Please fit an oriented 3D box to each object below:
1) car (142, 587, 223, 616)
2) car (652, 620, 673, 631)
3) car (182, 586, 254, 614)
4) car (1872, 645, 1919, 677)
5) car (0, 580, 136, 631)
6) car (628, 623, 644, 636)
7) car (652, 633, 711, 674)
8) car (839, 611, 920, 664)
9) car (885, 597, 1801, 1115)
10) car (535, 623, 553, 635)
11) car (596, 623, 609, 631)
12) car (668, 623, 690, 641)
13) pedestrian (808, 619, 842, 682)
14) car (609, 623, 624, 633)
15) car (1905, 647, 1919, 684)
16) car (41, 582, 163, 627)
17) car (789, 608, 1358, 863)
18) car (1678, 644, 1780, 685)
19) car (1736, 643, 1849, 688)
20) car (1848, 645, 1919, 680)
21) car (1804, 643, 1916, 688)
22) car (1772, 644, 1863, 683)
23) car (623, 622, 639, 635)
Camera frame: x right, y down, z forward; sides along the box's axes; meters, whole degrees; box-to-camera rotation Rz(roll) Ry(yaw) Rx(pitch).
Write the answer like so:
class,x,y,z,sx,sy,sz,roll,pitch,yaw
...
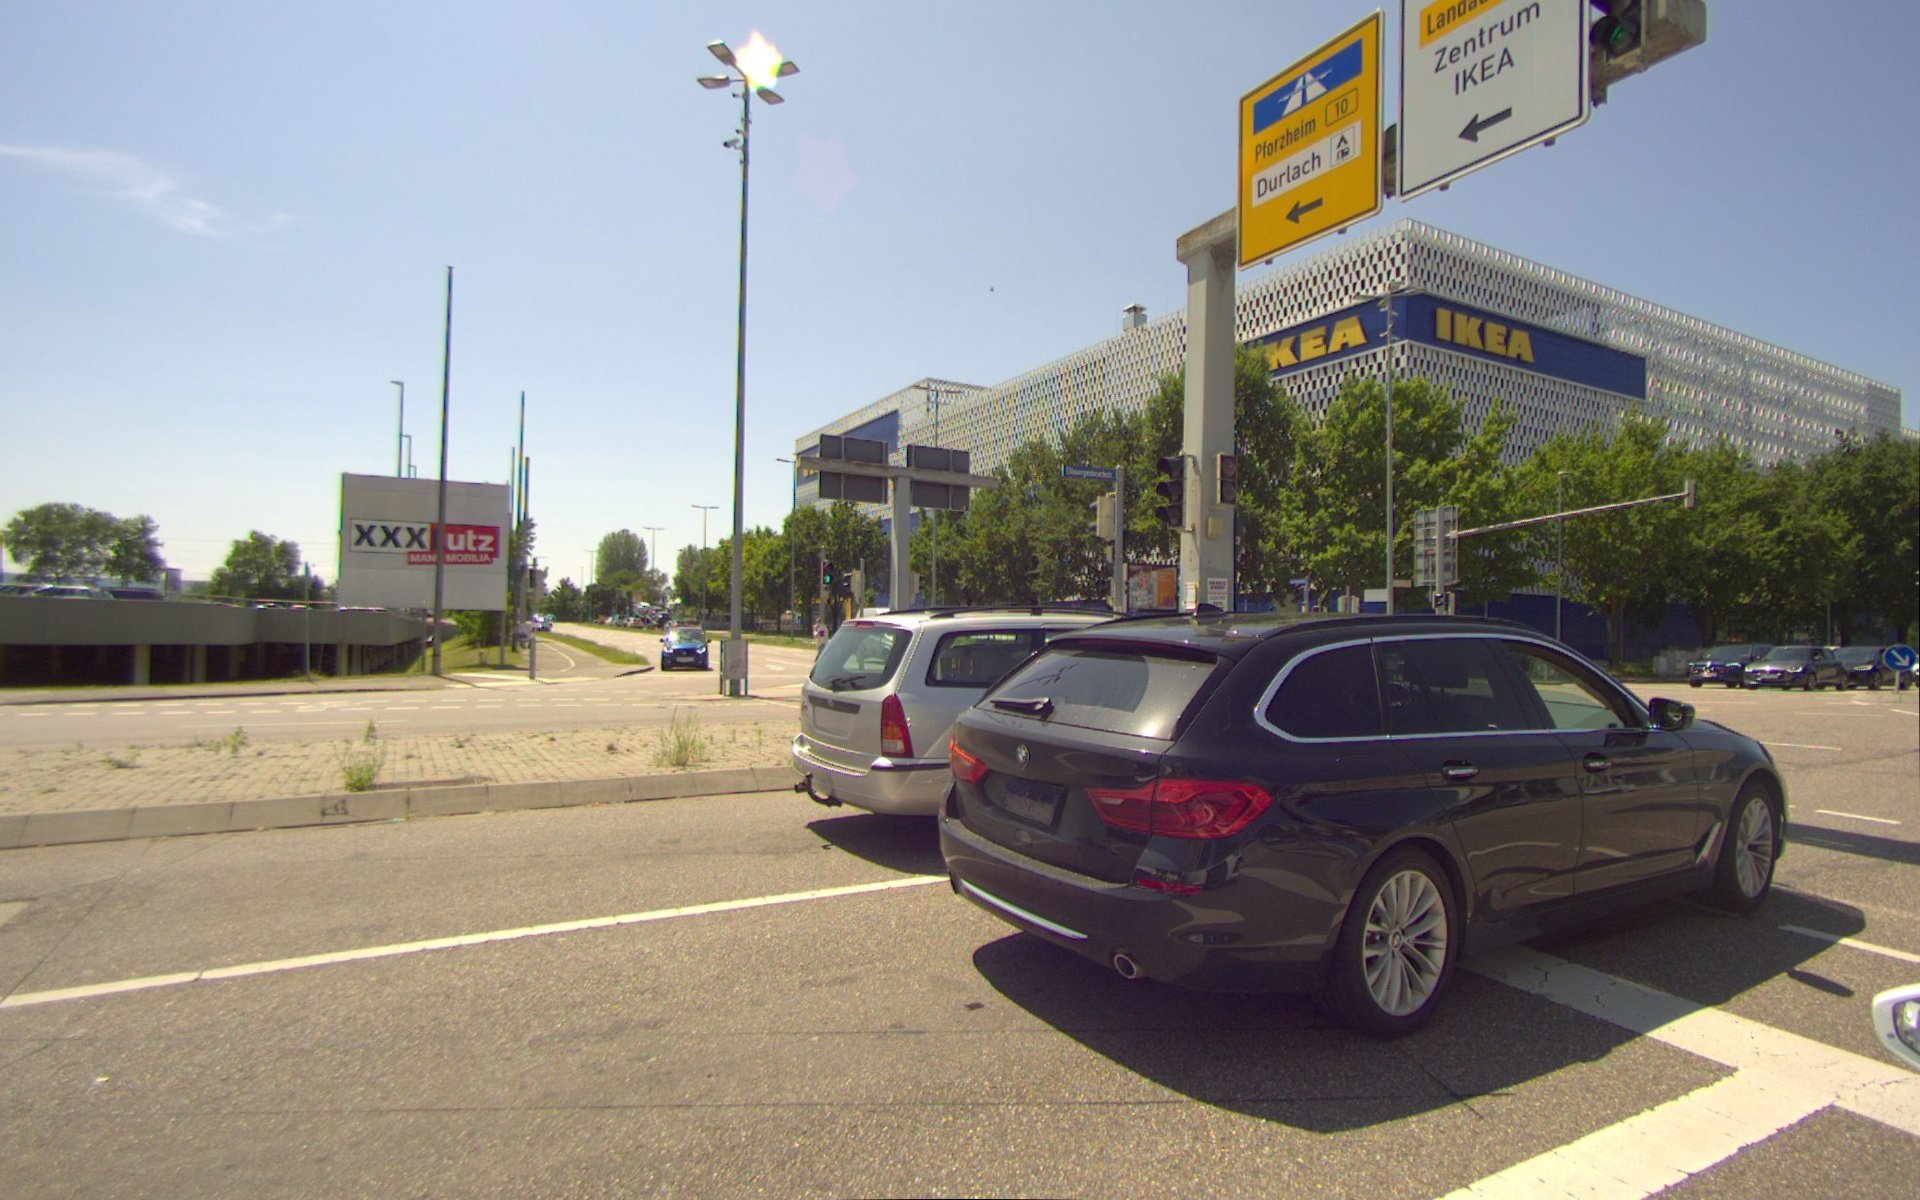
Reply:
class,x,y,z,sx,sy,sz,roll,pitch,yaw
car,-52.819,0.125,68.323,4.086,1.764,1.770,2,-2,-30
car,-42.792,3.626,144.460,1.976,1.572,3.970,2,-2,-29
car,-58.499,0.053,79.307,4.278,2.040,1.985,2,-2,-30
car,46.213,2.979,48.795,3.954,1.505,1.735,3,-3,-31
car,-39.317,0.289,44.350,4.284,2.040,1.982,2,-2,-34
car,-46.298,4.275,143.574,1.607,1.835,3.474,1,-2,-27
car,-10.327,1.946,37.096,1.599,1.382,3.417,1,-2,-24
car,-3.660,1.627,44.680,1.973,2.212,5.019,1,-2,-25
car,2.051,0.789,4.817,4.507,1.459,1.787,2,-1,-33
car,-55.203,3.874,133.154,1.836,1.528,3.971,2,-2,-28
car,-60.613,4.572,170.369,1.608,1.368,3.472,2,-2,-29
car,-33.070,3.782,118.151,1.750,2.040,3.813,1,-2,-26
pedestrian,-3.914,1.460,29.101,0.816,1.807,0.601,2,-2,-27
car,-55.251,4.525,161.590,1.608,1.629,3.471,2,-2,-29
car,40.736,2.693,40.972,4.660,1.464,1.720,2,-4,-28
car,-42.015,0.263,49.345,4.285,2.040,1.981,2,-2,-34
car,0.900,0.815,7.451,3.959,1.441,1.685,1,0,-29
car,28.698,2.415,37.480,3.992,1.442,1.653,3,-3,-31
car,27.176,2.154,32.773,3.671,1.407,1.637,3,-4,-30
car,42.297,2.862,45.767,3.870,1.505,1.642,3,-3,-31
car,32.394,2.364,36.138,4.193,1.524,1.719,3,-4,-30
car,35.655,2.642,41.740,3.870,1.564,1.718,3,-3,-31
car,-48.962,4.214,149.411,1.607,1.938,3.474,1,-2,-27
